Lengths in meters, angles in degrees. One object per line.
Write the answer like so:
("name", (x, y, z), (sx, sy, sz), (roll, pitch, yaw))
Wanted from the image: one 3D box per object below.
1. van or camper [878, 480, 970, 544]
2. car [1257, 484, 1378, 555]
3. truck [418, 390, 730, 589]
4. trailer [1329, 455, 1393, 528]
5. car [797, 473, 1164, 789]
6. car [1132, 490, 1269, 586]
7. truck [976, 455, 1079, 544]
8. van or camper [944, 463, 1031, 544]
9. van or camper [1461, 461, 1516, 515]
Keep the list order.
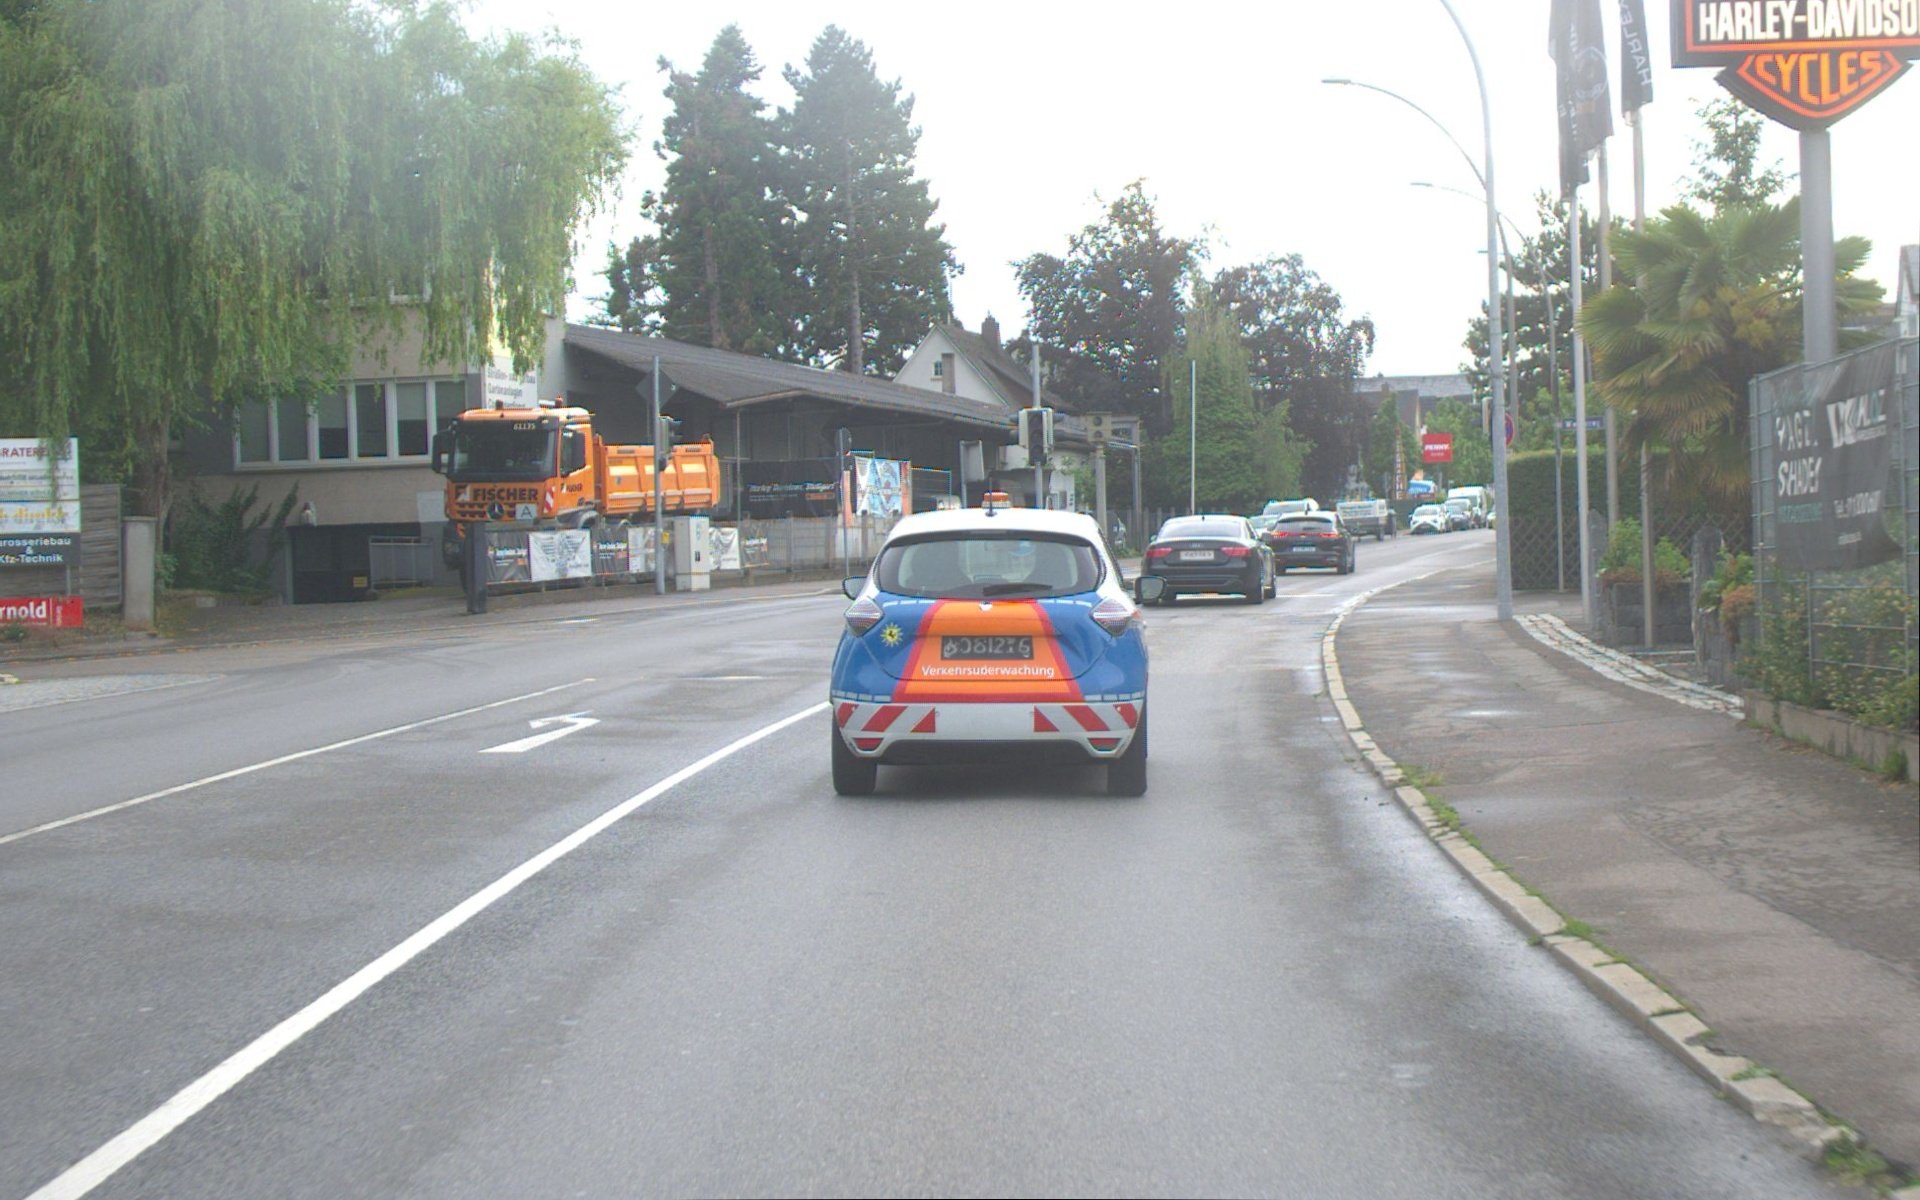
("van or camper", (-1.094, -2.719, 106.584), (1.994, 1.902, 4.470), (1, 1, 10))
("car", (7.942, -1.760, 76.159), (1.995, 1.415, 3.997), (1, 0, 15))
("truck", (-7.177, -1.996, 65.574), (2.699, 3.400, 9.065), (1, 0, 15))
("trailer", (17.882, -4.851, 153.036), (2.222, 2.004, 4.439), (-15, 9, 12))
("car", (0.223, 0.102, 19.964), (1.889, 1.626, 4.000), (-1, 2, 4))
("car", (3.694, -0.938, 53.416), (1.720, 1.371, 3.934), (1, 0, -1))
("truck", (2.368, -3.436, 118.715), (2.396, 2.917, 5.954), (1, 1, 12))
("van or camper", (0.926, -3.152, 113.180), (1.860, 2.429, 5.231), (2, 0, 11))
("van or camper", (19.011, -4.012, 123.565), (1.755, 1.876, 3.998), (-1, 2, 11))
